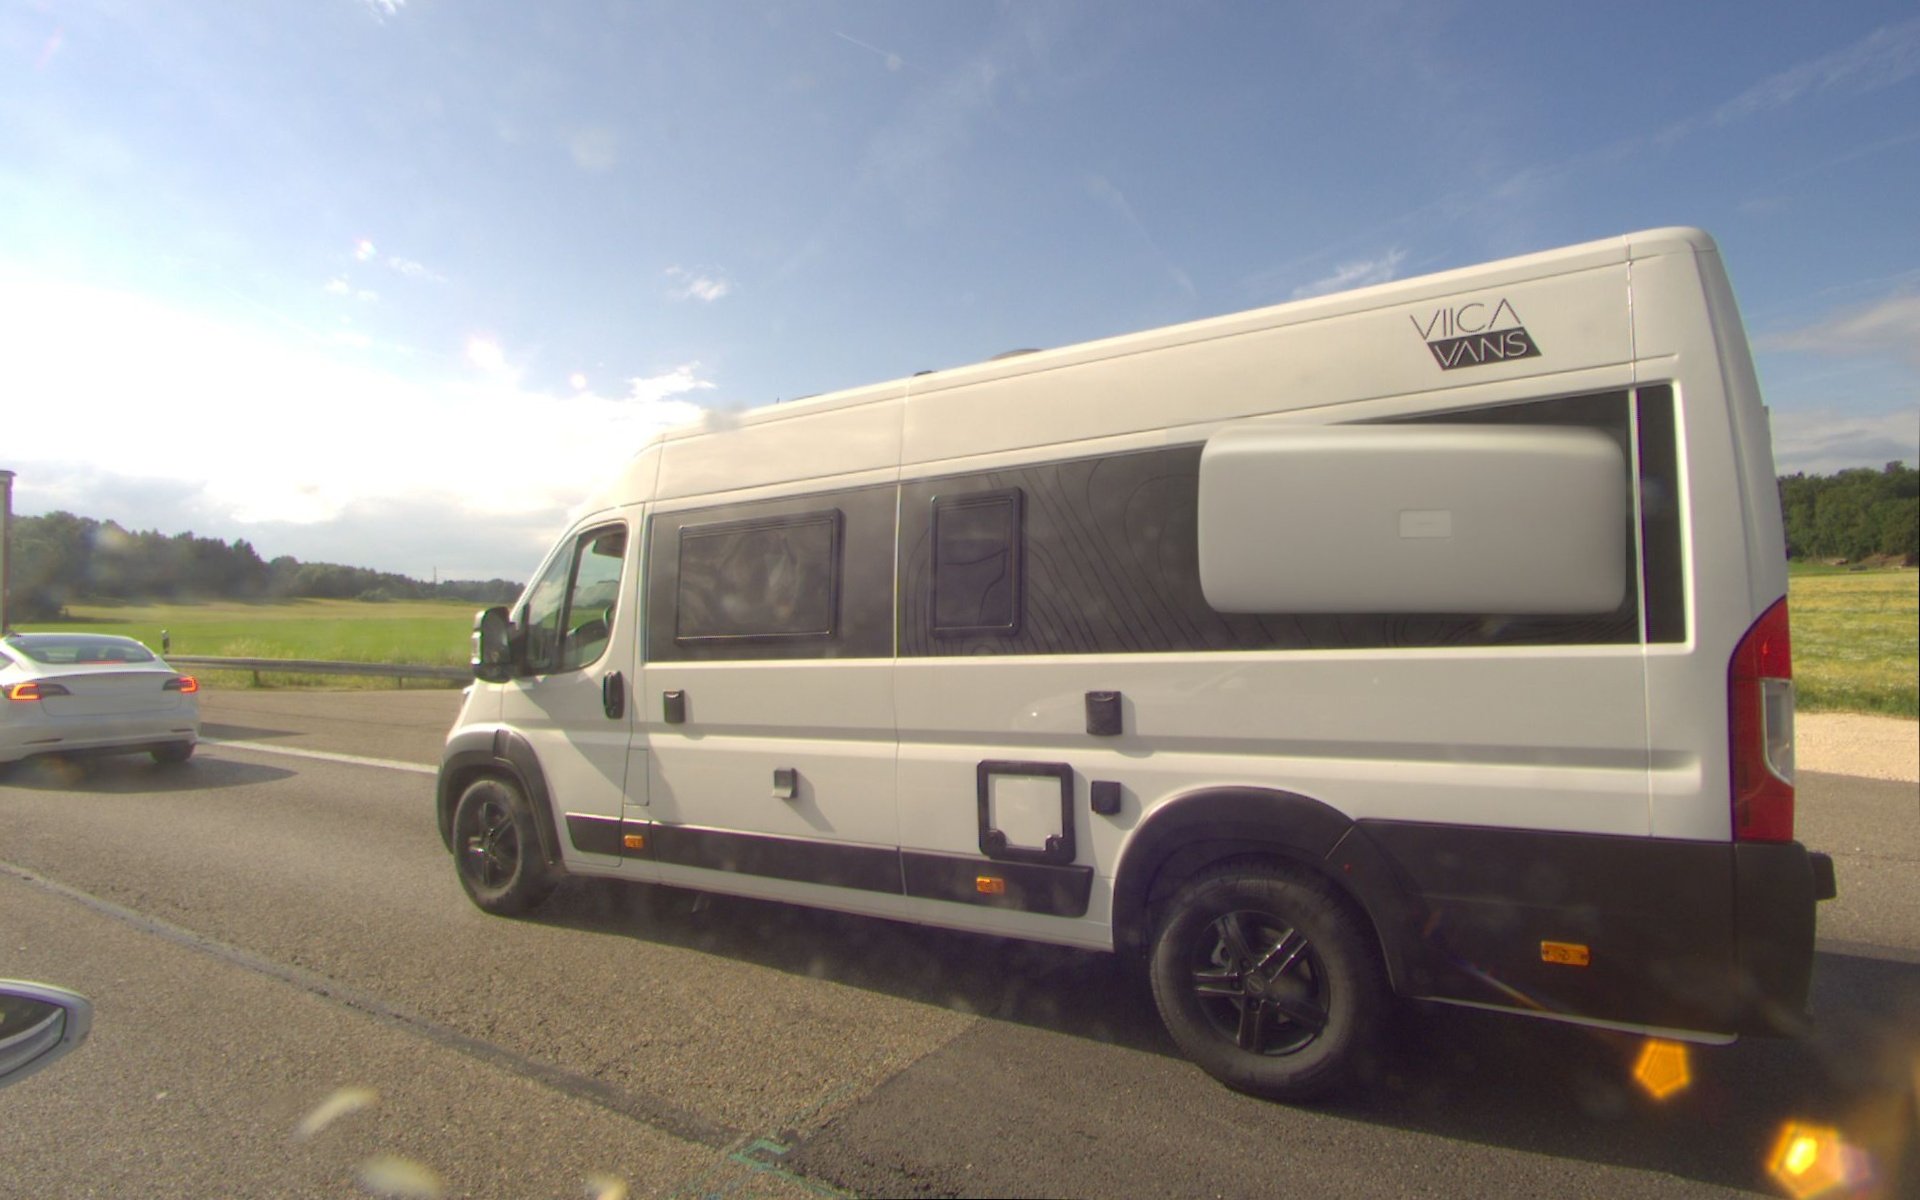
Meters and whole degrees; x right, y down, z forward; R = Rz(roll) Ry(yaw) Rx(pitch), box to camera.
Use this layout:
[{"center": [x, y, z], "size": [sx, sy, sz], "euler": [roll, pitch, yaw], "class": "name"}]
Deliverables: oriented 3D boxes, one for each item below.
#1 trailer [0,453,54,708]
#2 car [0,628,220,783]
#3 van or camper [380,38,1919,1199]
[{"center": [-21.281, -0.125, 18.768], "size": [13.181, 4.061, 3.125], "euler": [-2, -2, 33], "class": "trailer"}, {"center": [-10.308, 1.028, 11.140], "size": [4.371, 1.412, 1.786], "euler": [-1, -1, 30], "class": "car"}, {"center": [0.034, 0.189, 4.804], "size": [6.241, 2.716, 2.211], "euler": [-1, -1, 32], "class": "van or camper"}]
